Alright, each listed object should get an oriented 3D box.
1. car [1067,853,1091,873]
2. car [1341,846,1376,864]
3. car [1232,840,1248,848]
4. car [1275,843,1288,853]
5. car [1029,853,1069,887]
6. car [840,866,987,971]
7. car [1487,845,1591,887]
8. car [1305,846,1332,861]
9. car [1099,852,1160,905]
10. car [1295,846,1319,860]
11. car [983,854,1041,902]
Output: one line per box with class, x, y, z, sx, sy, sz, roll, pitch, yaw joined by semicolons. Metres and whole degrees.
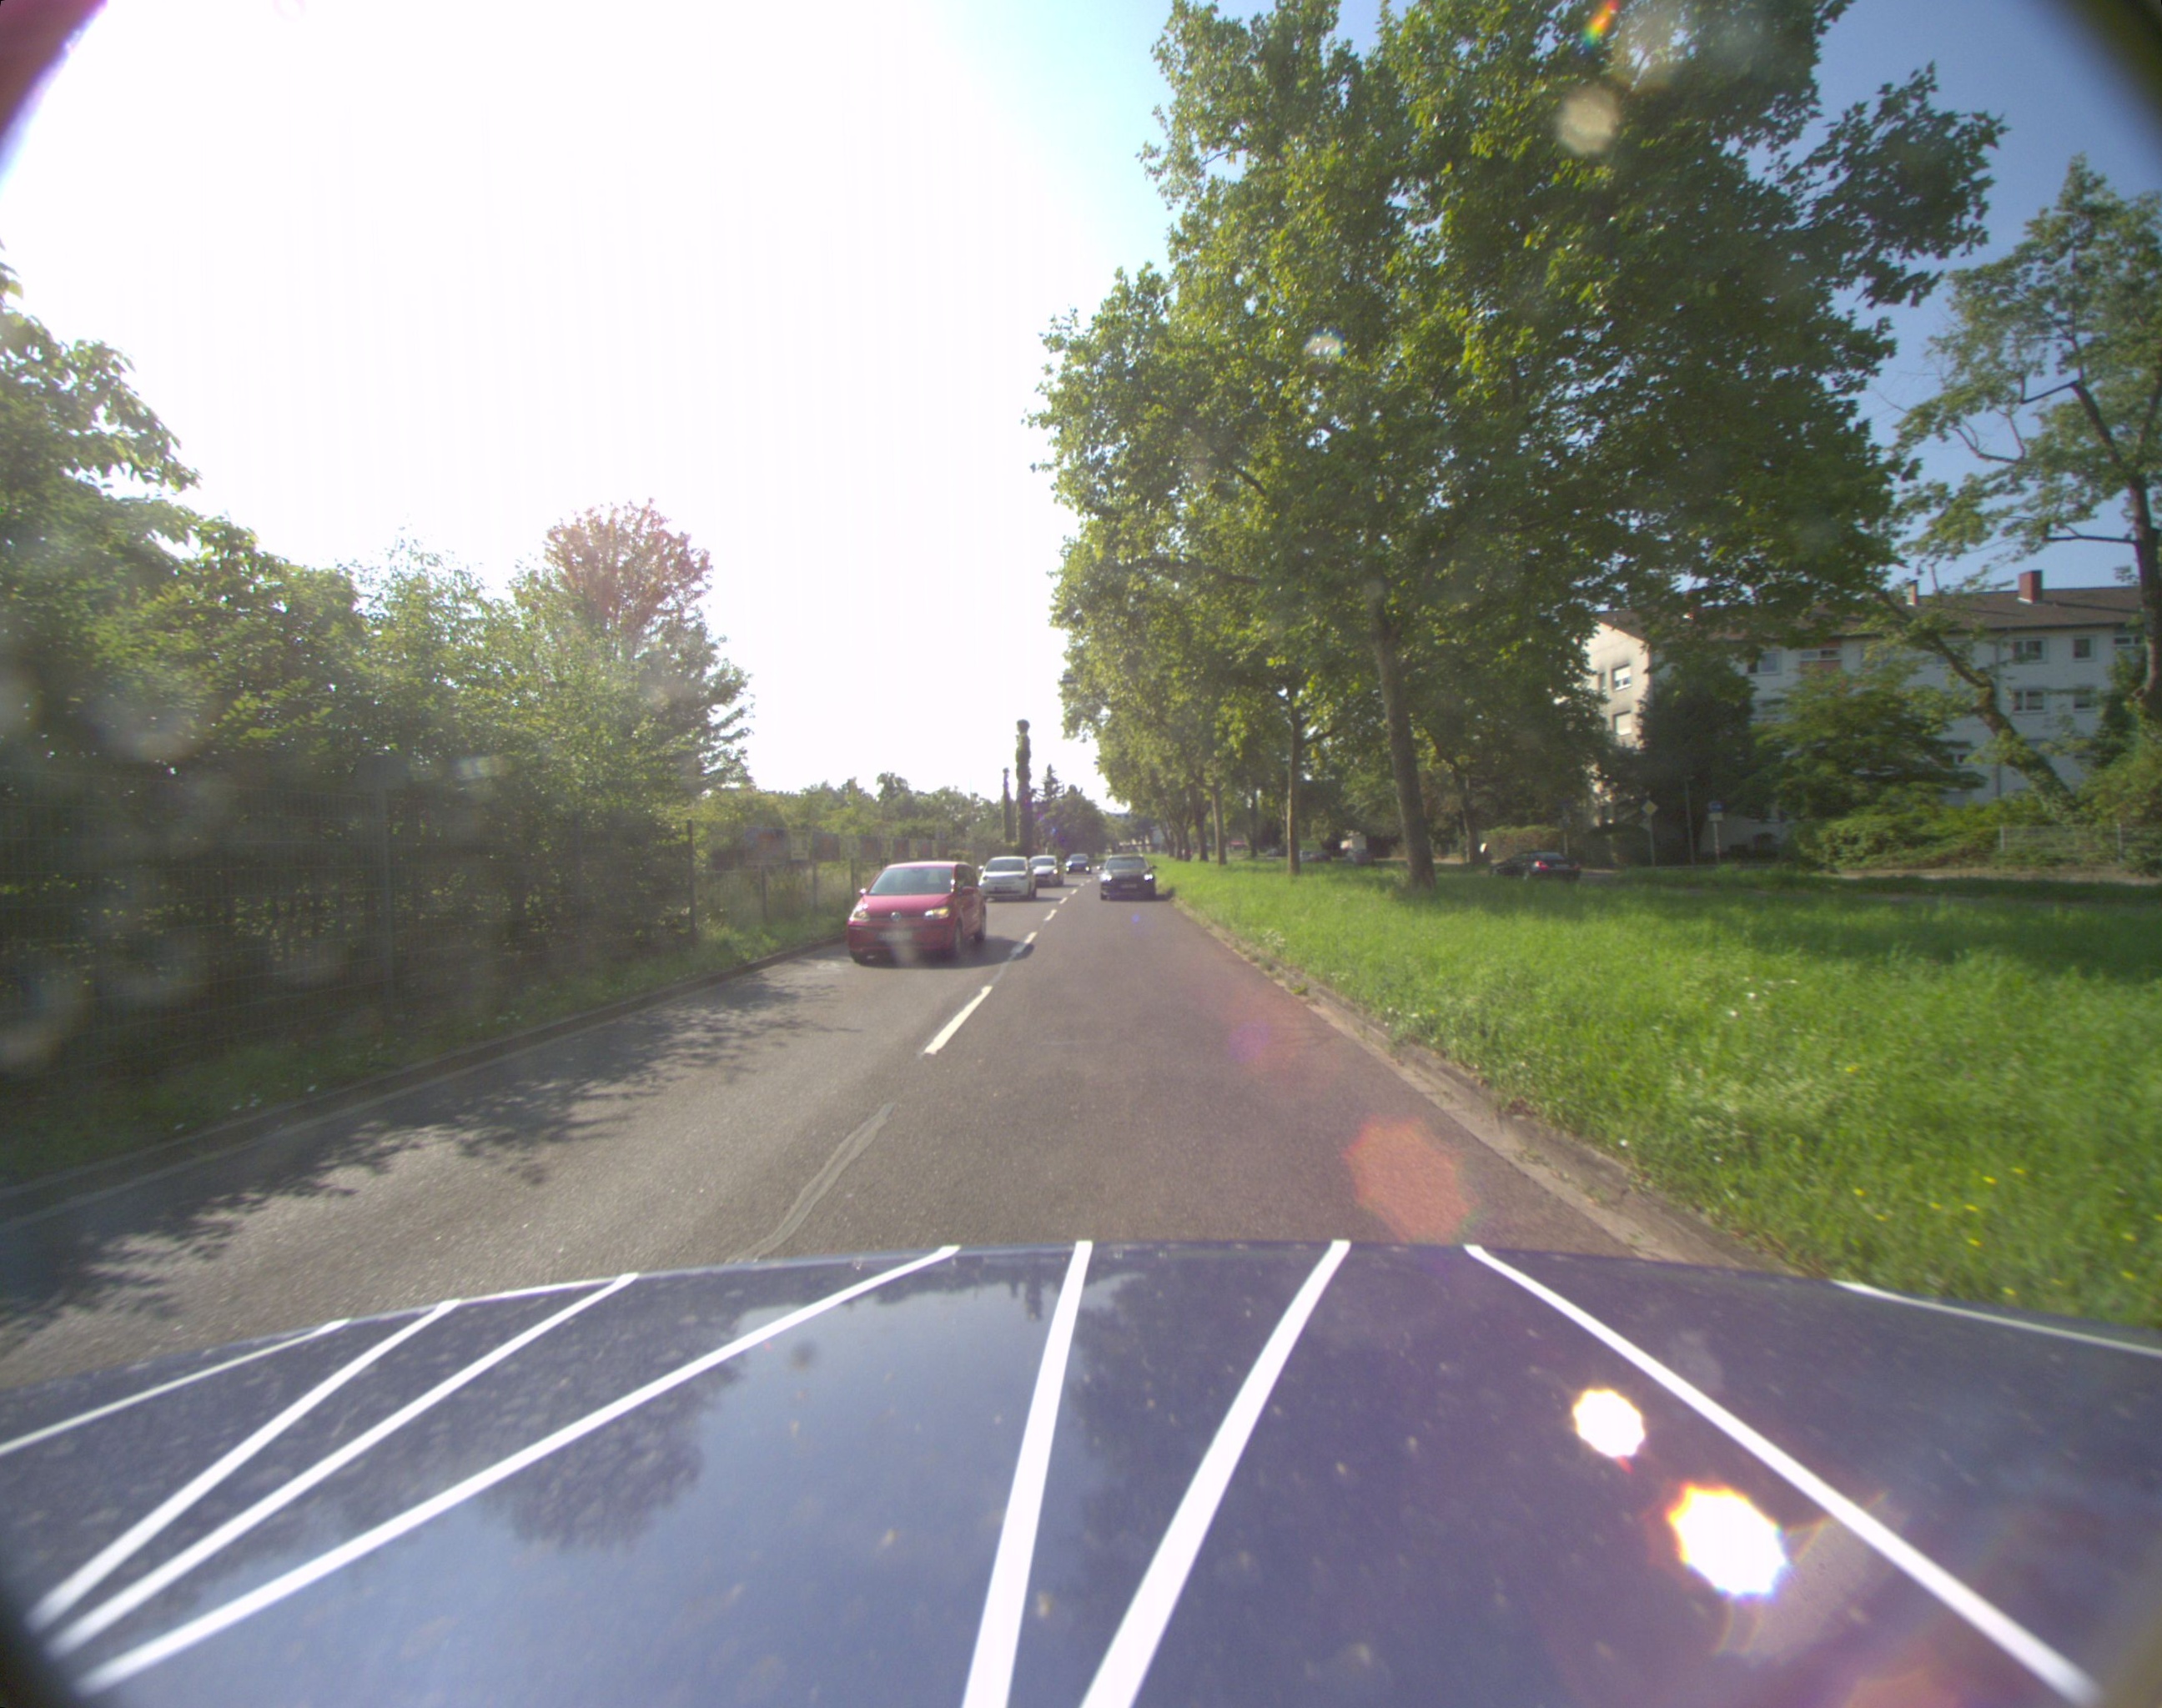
car;-0.128;0.676;58.923;1.649;1.378;3.898;-2;1;1
car;21.997;0.072;60.283;1.613;1.284;3.523;-2;1;4
car;41.807;-2.547;199.807;4.021;2.081;1.833;-1;1;6
car;34.285;-0.997;130.262;1.648;1.662;3.735;-1;1;7
car;-1.497;0.749;36.872;1.649;1.467;3.898;-2;1;1
car;-2.598;0.945;12.563;1.579;1.390;3.471;0;1;1
car;17.464;0.408;29.187;1.649;1.471;3.898;-2;1;1
car;22.472;-0.028;71.854;1.613;1.284;3.523;-2;1;4
car;1.574;0.755;25.697;1.862;1.572;3.612;-2;1;1
car;22.811;-0.135;76.783;1.613;1.398;3.523;-1;0;4
car;-2.400;0.806;27.058;1.649;1.467;3.898;-2;1;0
